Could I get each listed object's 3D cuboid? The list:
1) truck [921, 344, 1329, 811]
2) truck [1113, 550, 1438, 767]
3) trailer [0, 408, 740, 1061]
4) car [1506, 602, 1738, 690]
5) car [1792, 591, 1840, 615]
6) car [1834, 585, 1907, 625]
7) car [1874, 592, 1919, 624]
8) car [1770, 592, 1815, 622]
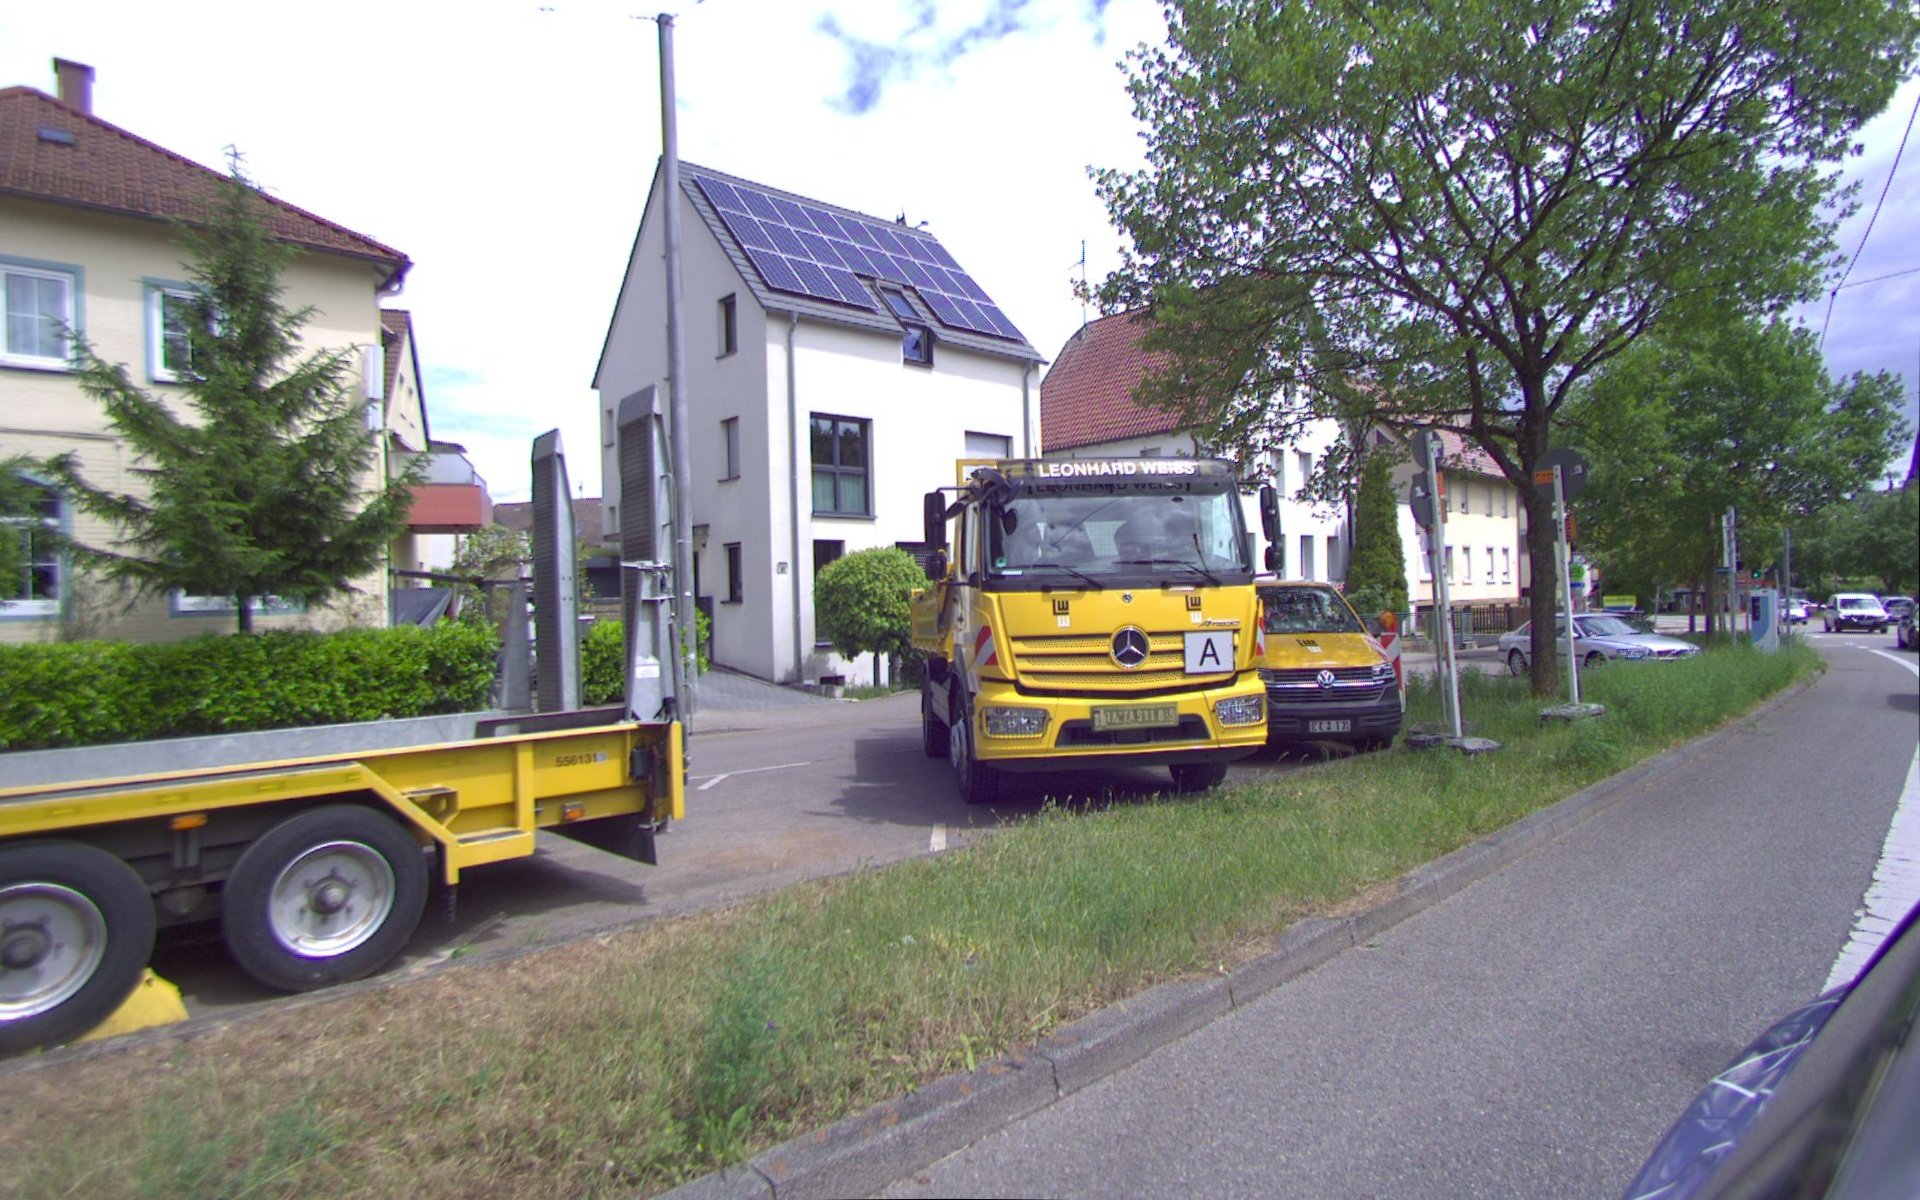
[{"bbox_3d":[1.040,0.002,10.408,2.295,3.241,6.636,0,-3,-7],"label":"truck"},{"bbox_3d":[3.472,0.657,12.681,1.961,2.040,5.957,-1,-2,-2],"label":"truck"},{"bbox_3d":[-4.141,0.518,4.571,5.577,2.274,2.595,-1,-2,-42],"label":"trailer"},{"bbox_3d":[13.646,0.866,21.239,1.961,1.598,4.308,0,1,-1],"label":"car"},{"bbox_3d":[62.989,0.206,74.564,1.983,1.751,4.059,-1,0,30],"label":"car"},{"bbox_3d":[41.847,0.238,46.593,1.987,1.751,4.051,-1,0,36],"label":"car"},{"bbox_3d":[54.325,0.453,58.029,1.983,1.751,4.059,-1,0,30],"label":"car"},{"bbox_3d":[49.632,0.419,60.372,1.990,1.683,3.943,-1,0,39],"label":"car"}]
